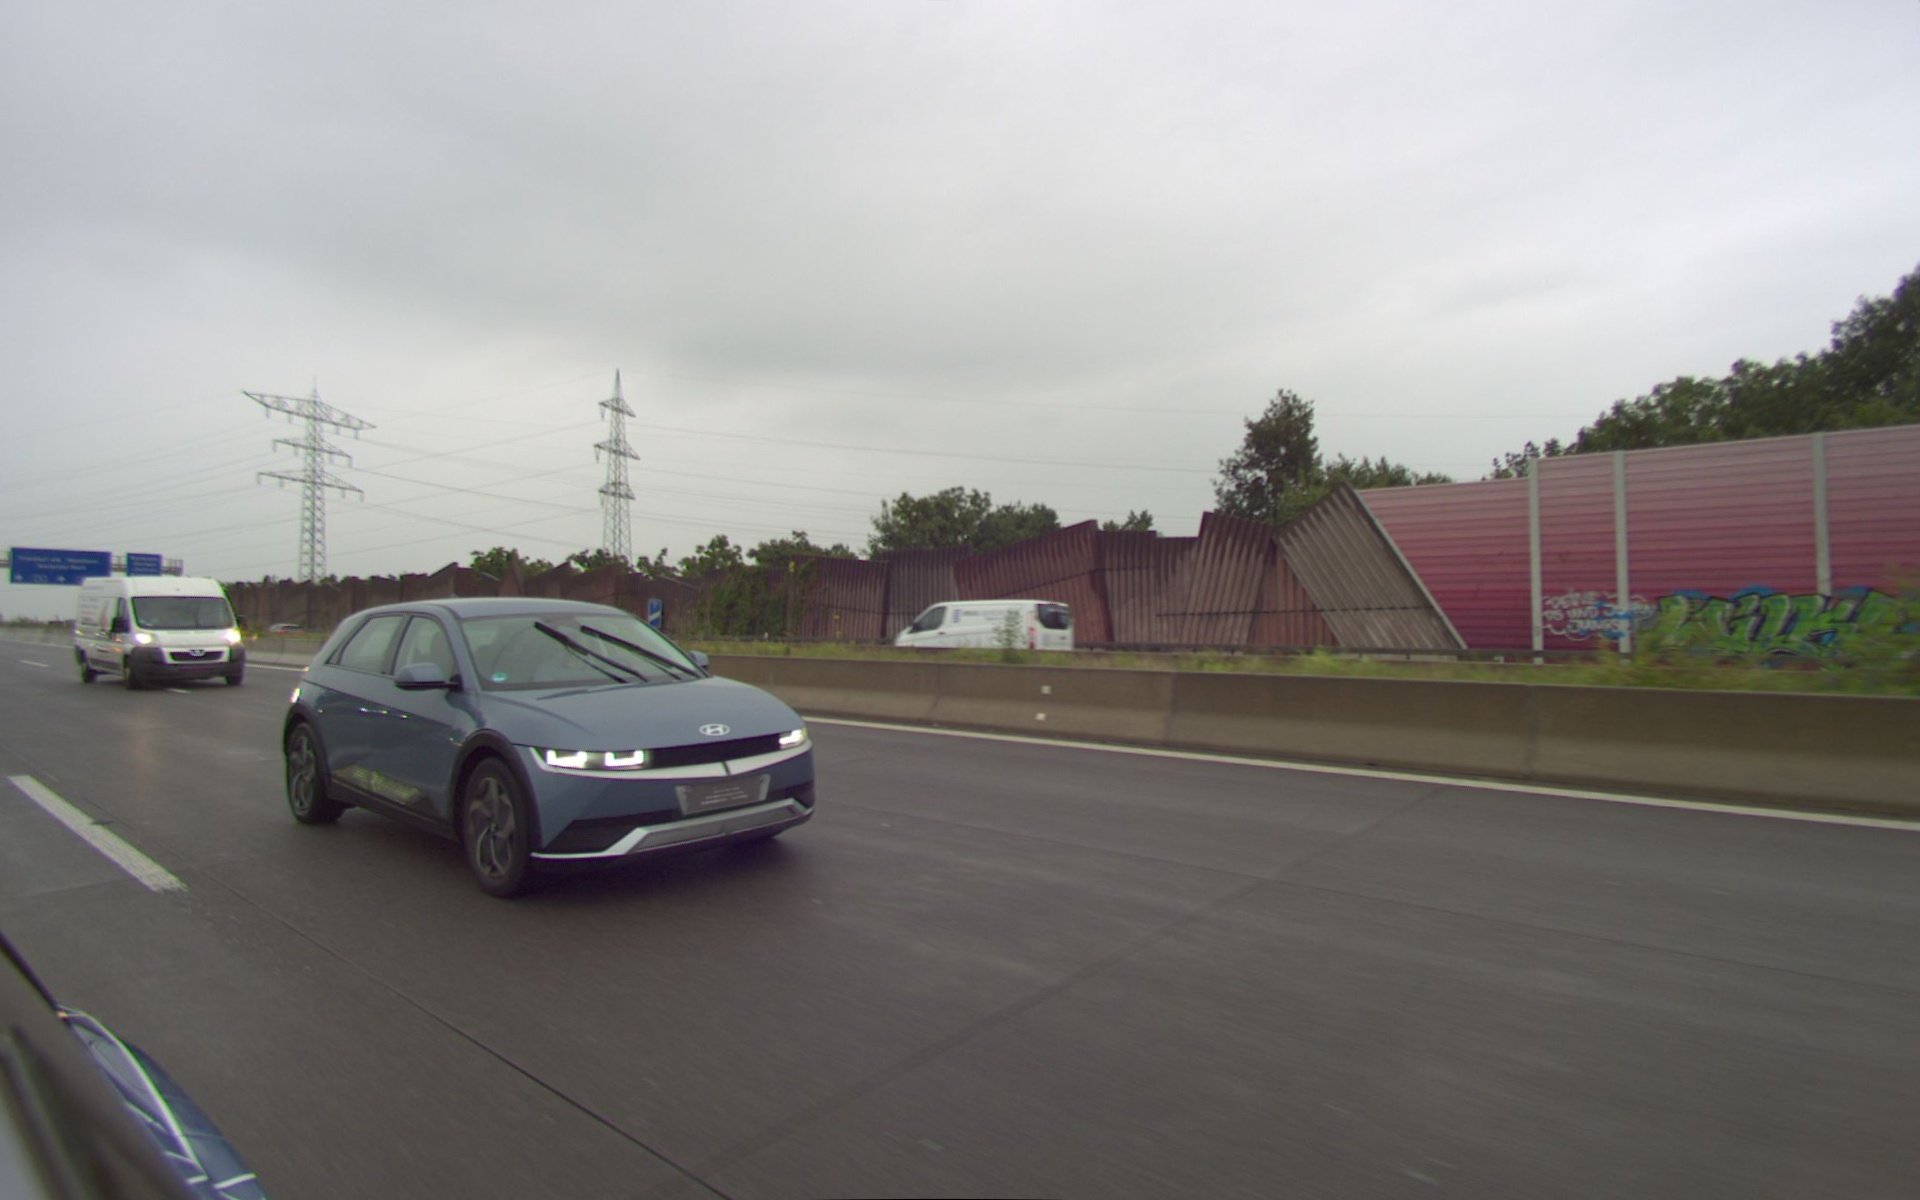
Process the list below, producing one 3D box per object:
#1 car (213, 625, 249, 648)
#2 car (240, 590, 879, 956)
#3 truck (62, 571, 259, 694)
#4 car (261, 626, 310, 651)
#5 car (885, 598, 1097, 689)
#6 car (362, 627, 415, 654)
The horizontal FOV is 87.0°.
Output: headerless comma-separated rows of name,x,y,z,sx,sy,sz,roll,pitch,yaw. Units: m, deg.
car,-69.297,3.450,96.189,3.999,2.029,1.972,-1,-1,42
car,-3.011,0.797,6.826,5.152,1.606,1.820,-1,-1,40
truck,-18.590,0.704,23.387,6.576,2.498,2.215,-1,0,39
car,-48.723,2.758,73.080,4.263,1.752,1.972,-1,-1,42
car,0.666,1.008,24.832,5.132,2.029,1.972,-1,-1,42
car,-39.731,2.798,70.319,4.263,1.752,1.972,-1,-1,42
